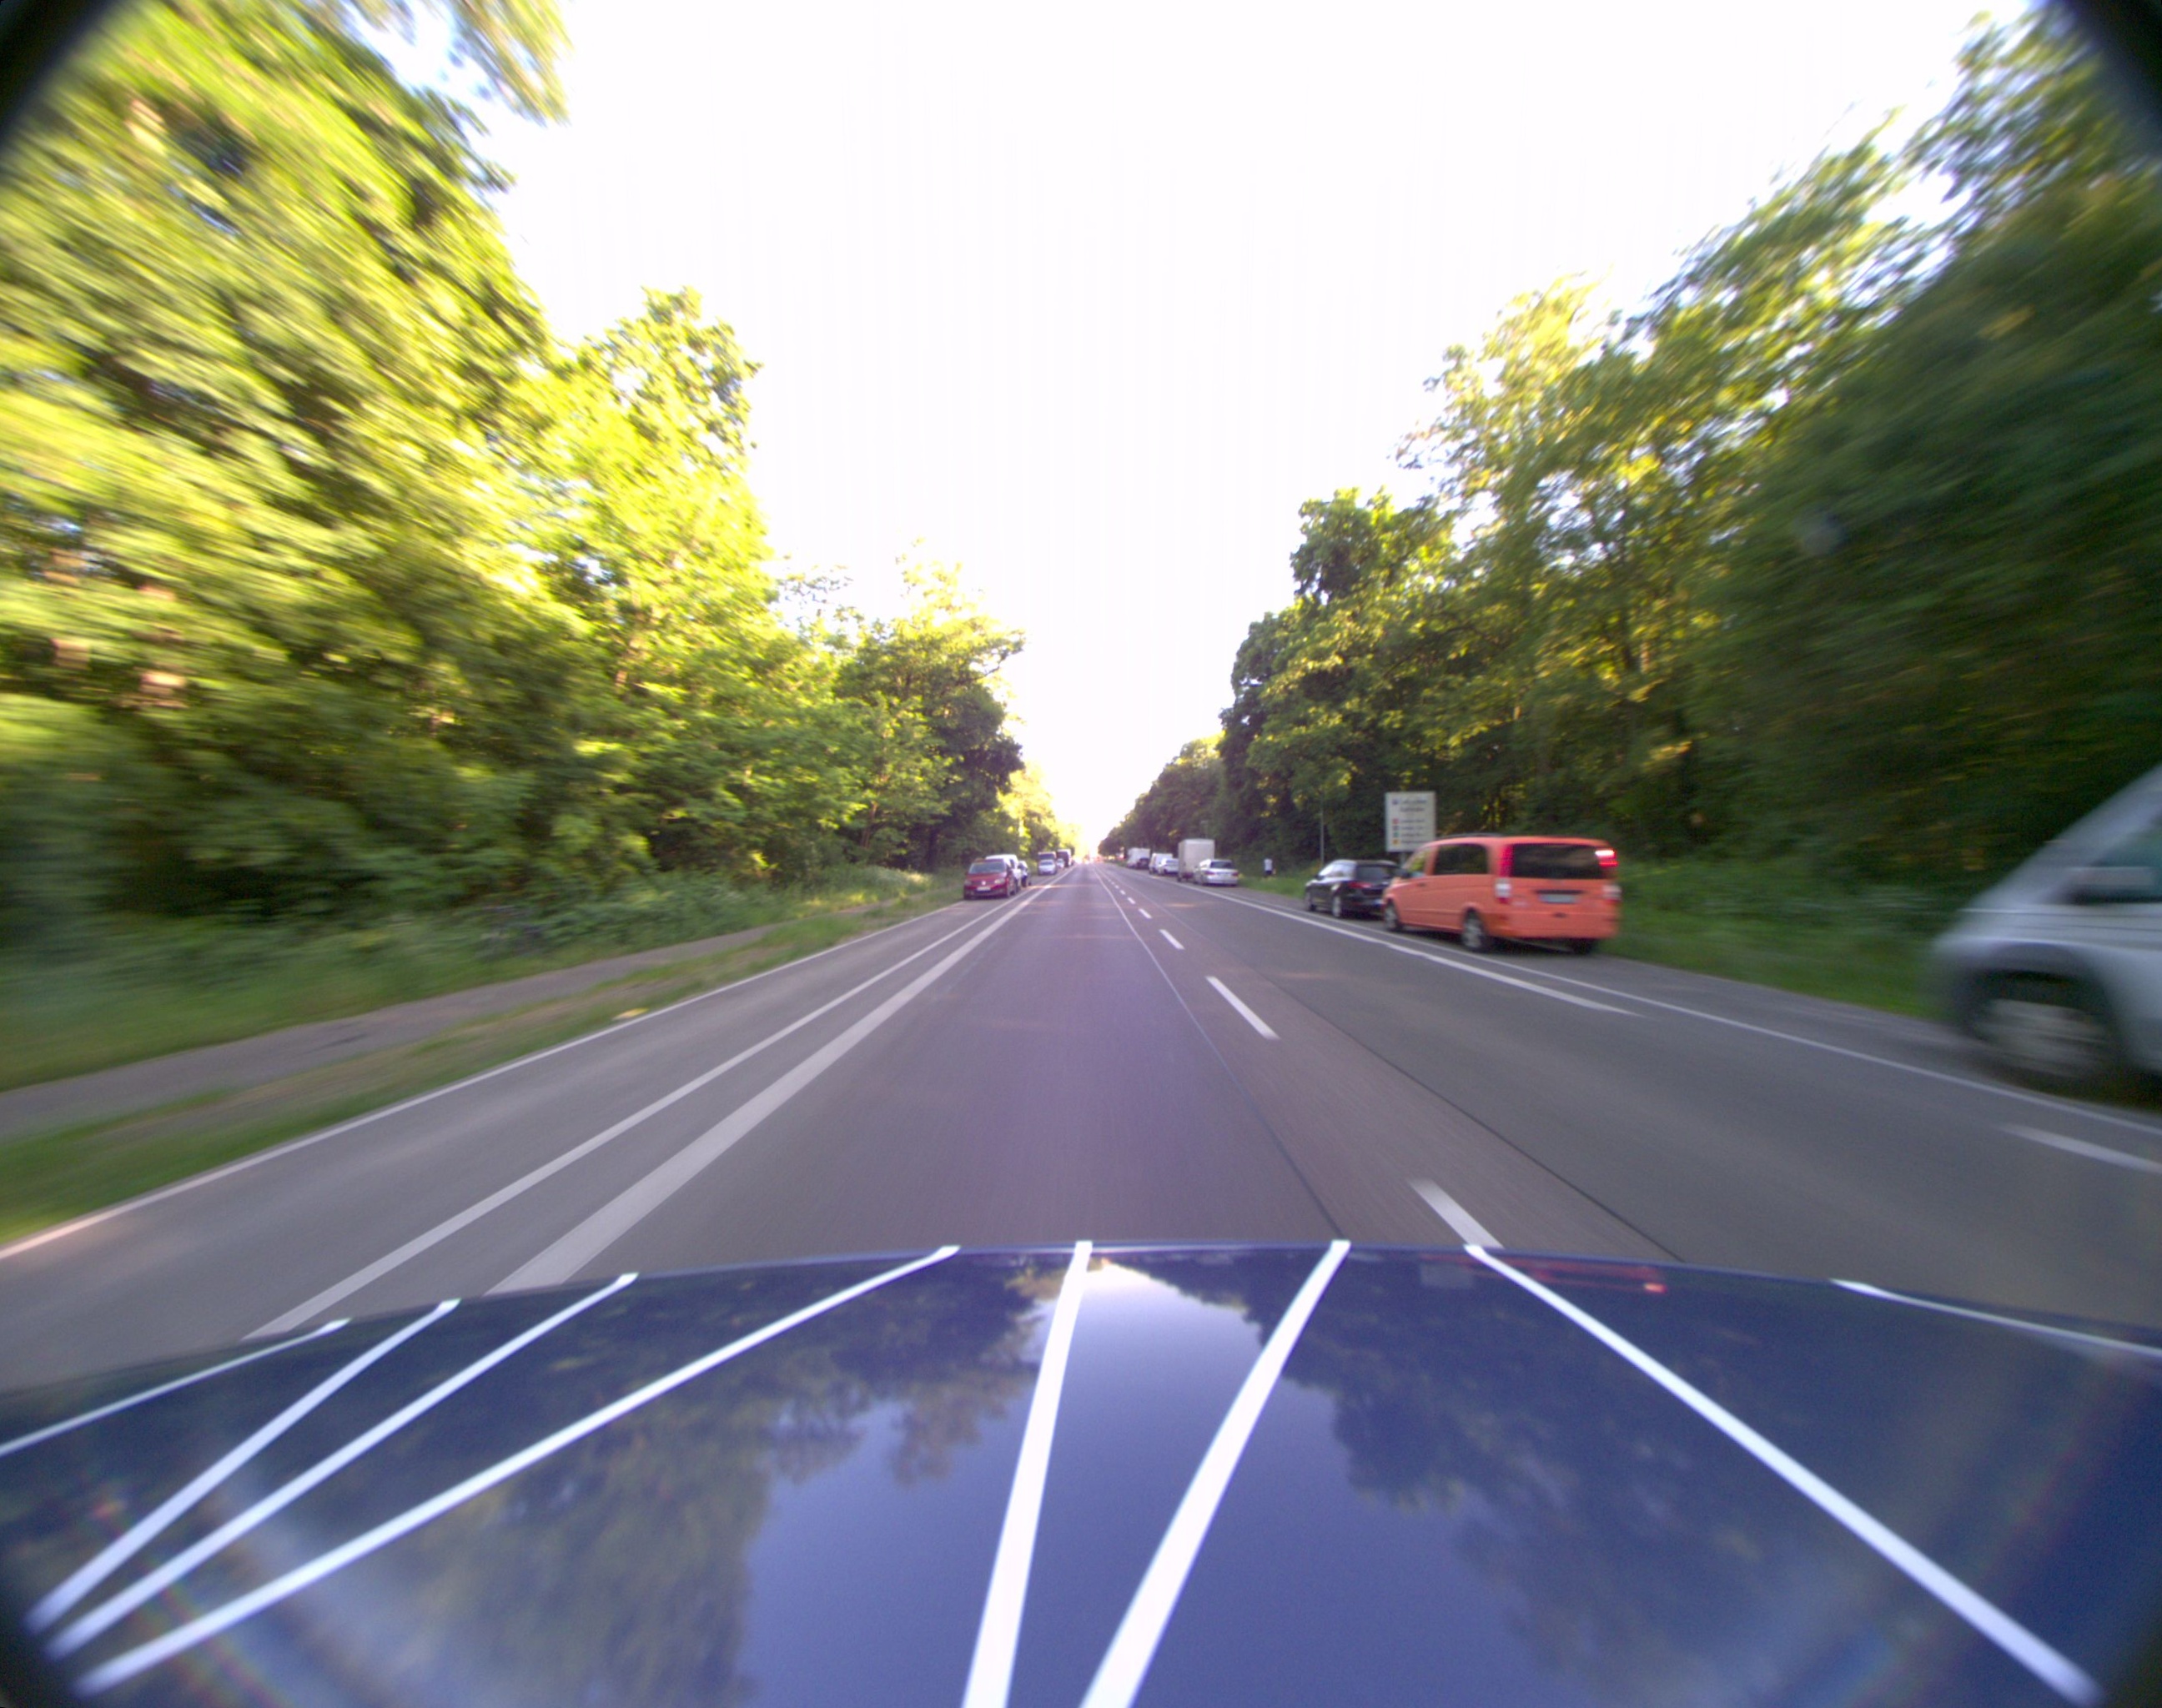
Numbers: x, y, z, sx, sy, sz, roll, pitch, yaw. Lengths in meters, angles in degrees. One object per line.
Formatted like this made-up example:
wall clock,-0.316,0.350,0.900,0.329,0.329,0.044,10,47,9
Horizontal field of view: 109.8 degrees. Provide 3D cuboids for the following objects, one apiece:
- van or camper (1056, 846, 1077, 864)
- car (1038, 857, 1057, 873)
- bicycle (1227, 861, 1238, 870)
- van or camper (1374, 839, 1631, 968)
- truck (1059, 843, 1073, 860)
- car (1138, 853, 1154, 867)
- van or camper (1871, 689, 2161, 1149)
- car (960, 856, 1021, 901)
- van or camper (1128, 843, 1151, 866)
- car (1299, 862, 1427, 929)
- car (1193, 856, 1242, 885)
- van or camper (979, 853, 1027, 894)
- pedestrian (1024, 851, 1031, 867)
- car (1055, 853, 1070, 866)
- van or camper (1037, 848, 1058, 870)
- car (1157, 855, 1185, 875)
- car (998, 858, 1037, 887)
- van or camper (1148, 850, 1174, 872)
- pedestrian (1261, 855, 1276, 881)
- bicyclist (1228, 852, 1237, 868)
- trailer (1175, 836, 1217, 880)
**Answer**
van or camper,-2.372,0.242,123.617,2.449,2.783,6.552,-1,-1,-9
car,-3.345,1.053,75.919,1.752,1.506,3.999,-3,0,-1
bicycle,11.582,0.875,58.223,0.523,0.708,1.487,-2,0,1
van or camper,7.076,0.719,13.507,1.927,1.856,4.863,1,0,1
truck,-3.059,-0.480,157.050,2.840,3.477,8.578,-1,0,0
car,8.148,0.715,95.223,1.650,1.622,4.273,1,0,1
van or camper,7.049,0.356,2.525,2.126,2.557,6.542,-1,0,1
car,-3.669,0.951,31.480,1.839,1.651,4.338,-3,0,1
van or camper,8.025,0.057,104.151,2.321,2.952,7.109,1,0,-2
car,7.050,0.961,19.498,1.736,1.469,4.324,1,0,1
car,7.204,0.837,40.479,1.802,1.445,4.625,1,0,0
van or camper,-3.721,0.880,37.019,1.956,1.805,4.380,-2,0,-2
pedestrian,-6.624,0.619,94.059,0.770,1.907,0.919,-1,0,1
car,-2.546,0.738,104.199,1.716,1.536,4.022,-3,0,2
van or camper,-3.608,0.499,83.340,2.040,2.298,6.040,0,0,0
car,7.376,0.848,62.376,1.779,1.531,4.524,1,0,0
car,-3.567,1.011,43.318,1.694,1.515,4.149,-3,0,1
van or camper,7.298,0.599,69.513,1.840,1.900,4.855,0,0,0
pedestrian,11.591,0.877,46.975,0.716,1.558,0.700,-1,1,1
bicyclist,11.571,0.438,58.086,0.488,1.228,0.974,-2,0,1
trailer,7.094,0.228,47.242,1.998,2.582,4.415,1,0,1
